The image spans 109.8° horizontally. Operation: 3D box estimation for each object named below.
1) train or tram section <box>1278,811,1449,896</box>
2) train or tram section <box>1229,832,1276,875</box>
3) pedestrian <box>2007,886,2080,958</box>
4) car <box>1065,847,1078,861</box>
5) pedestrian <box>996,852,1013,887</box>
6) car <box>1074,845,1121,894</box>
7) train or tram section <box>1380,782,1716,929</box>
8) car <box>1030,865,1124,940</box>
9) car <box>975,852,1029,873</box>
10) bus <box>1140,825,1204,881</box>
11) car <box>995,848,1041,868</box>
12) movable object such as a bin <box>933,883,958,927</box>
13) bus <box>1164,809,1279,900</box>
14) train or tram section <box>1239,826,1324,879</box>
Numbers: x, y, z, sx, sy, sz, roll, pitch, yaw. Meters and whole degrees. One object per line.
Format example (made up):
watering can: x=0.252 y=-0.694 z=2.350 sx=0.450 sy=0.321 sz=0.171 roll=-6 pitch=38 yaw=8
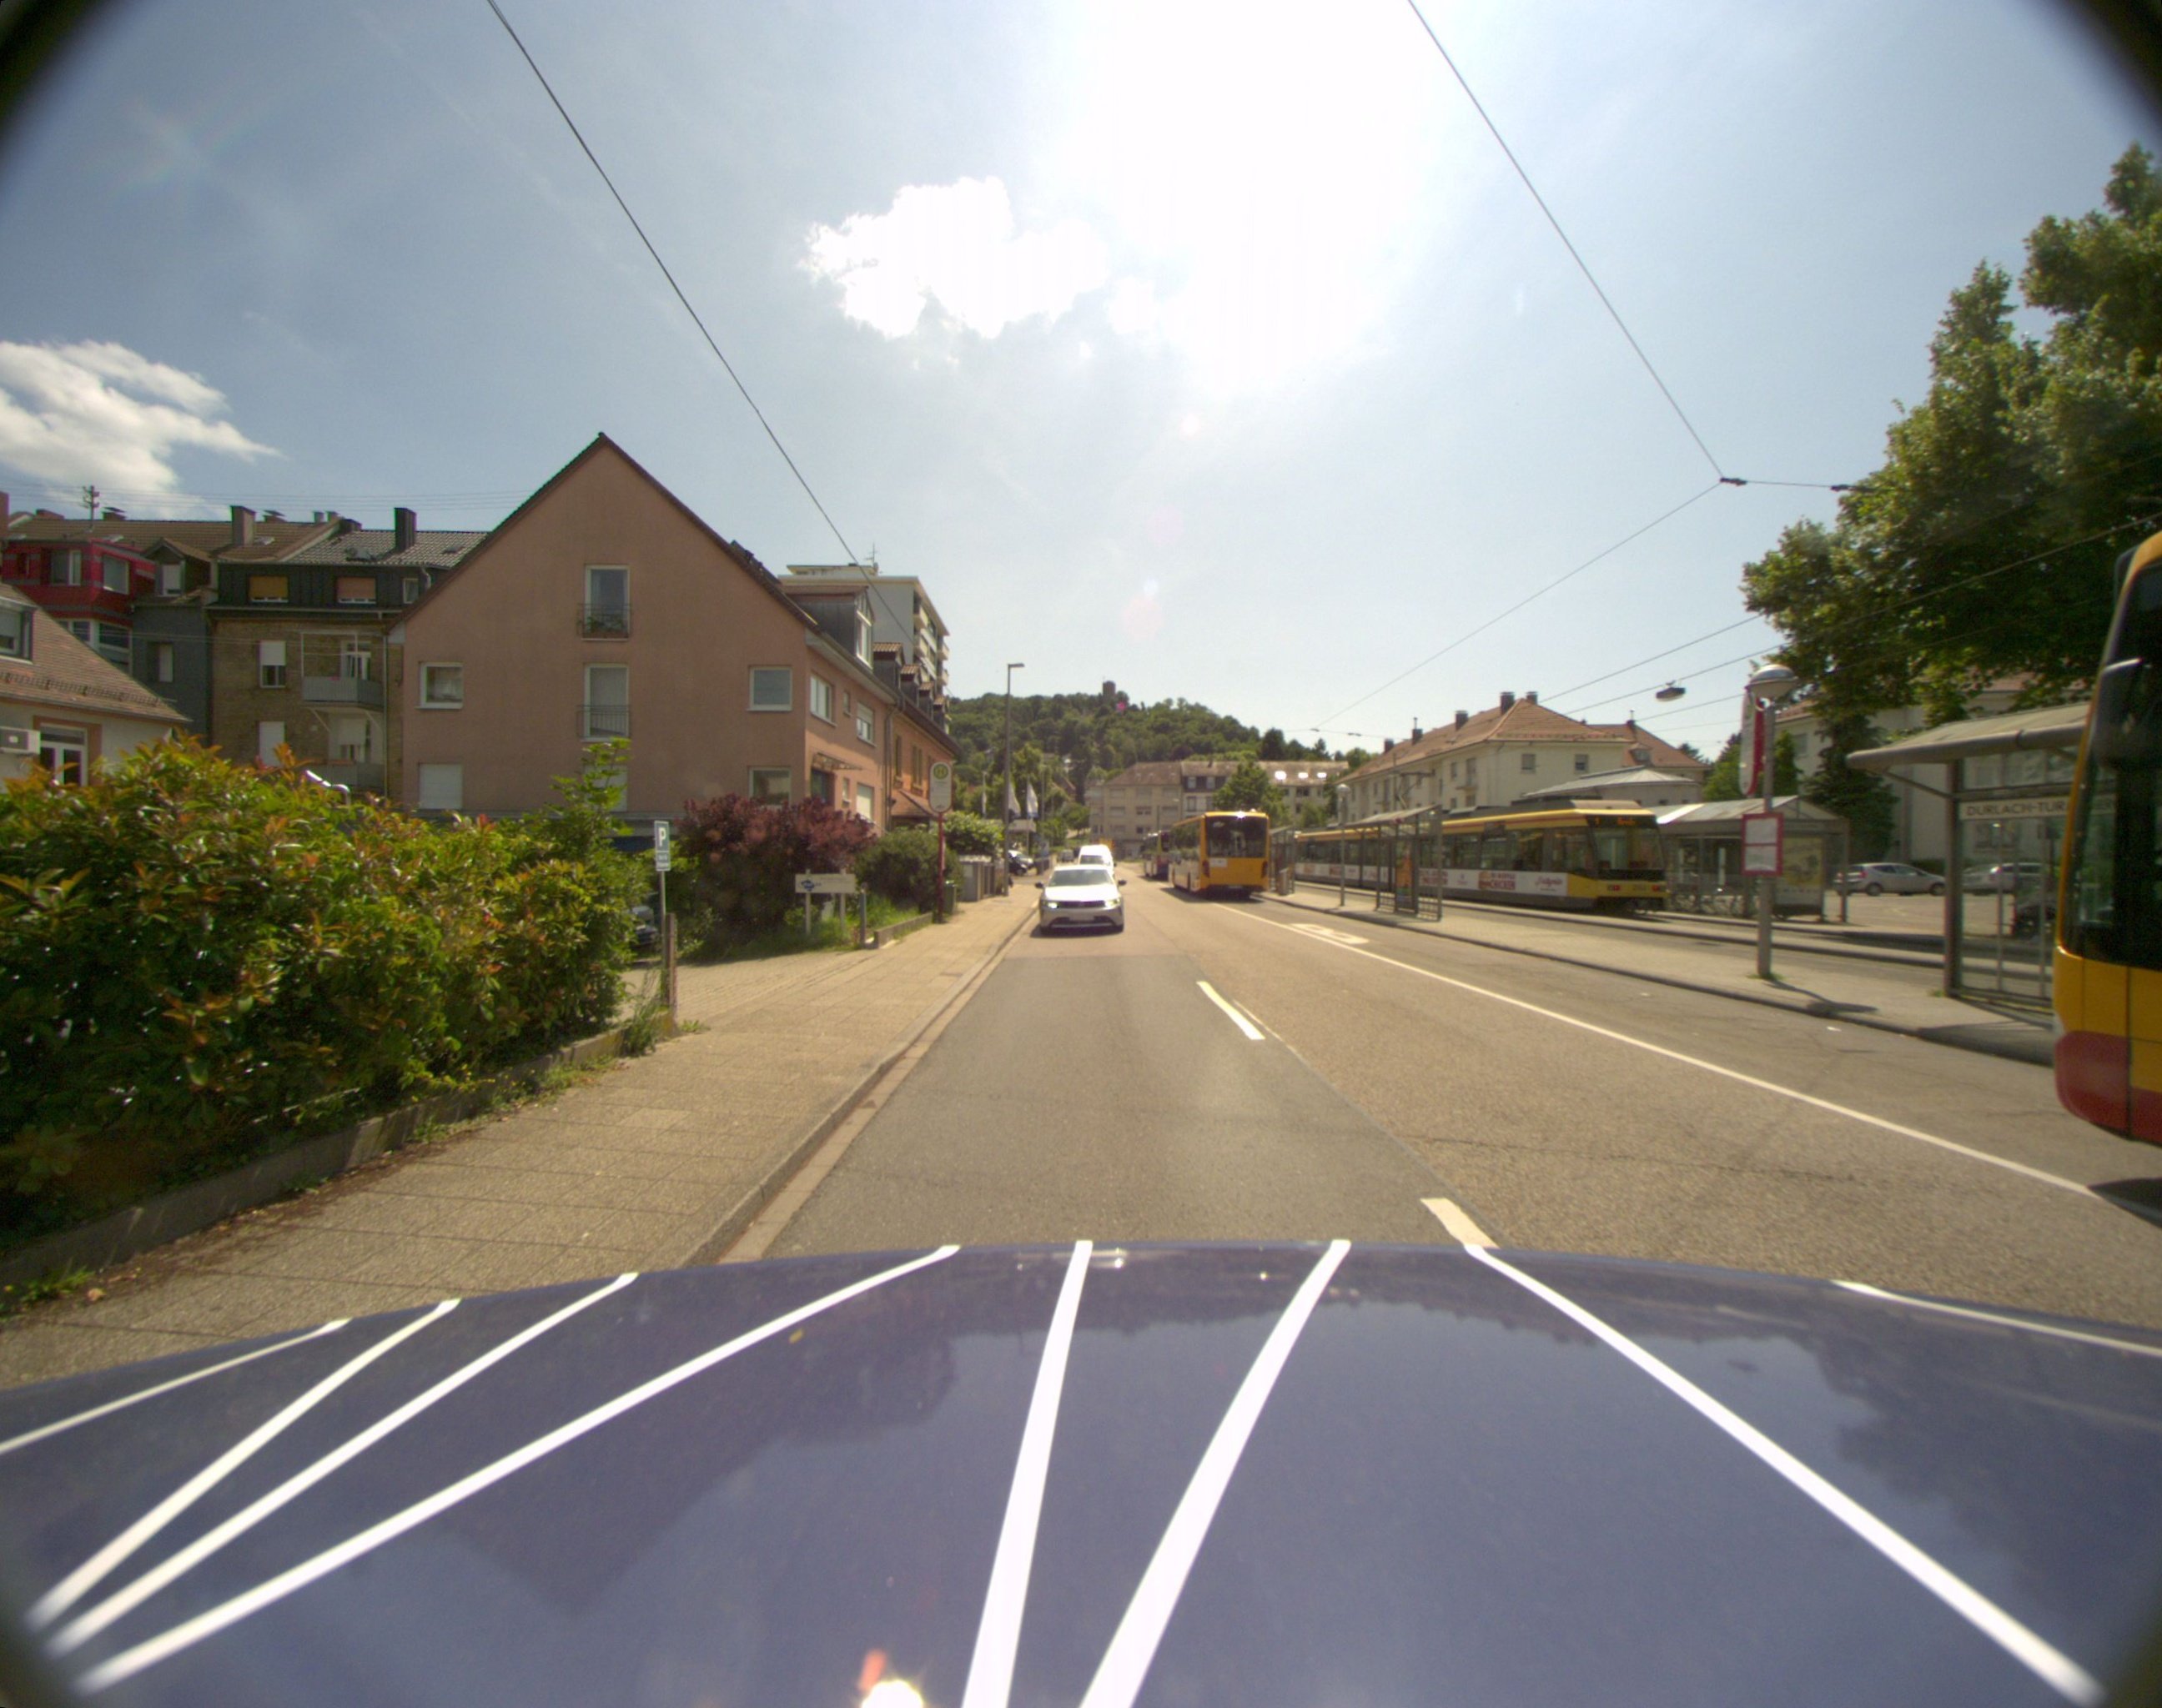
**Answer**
train or tram section: x=14.583 y=-0.083 z=41.820 sx=2.971 sy=3.621 sz=17.349 roll=-1 pitch=1 yaw=0
train or tram section: x=14.645 y=-0.050 z=65.116 sx=2.971 sy=3.475 sz=4.417 roll=1 pitch=1 yaw=0
pedestrian: x=17.660 y=1.240 z=13.949 sx=0.616 sy=1.244 sz=0.540 roll=-1 pitch=2 yaw=3
car: x=-1.384 y=-0.066 z=109.579 sx=1.708 sy=1.840 sz=4.710 roll=-2 pitch=2 yaw=-3
pedestrian: x=-3.670 y=0.751 z=36.361 sx=0.707 sy=1.631 sz=0.659 roll=2 pitch=-1 yaw=-9
car: x=0.774 y=0.713 z=39.518 sx=1.999 sy=2.258 sz=5.442 roll=-2 pitch=2 yaw=-3
train or tram section: x=14.536 y=-0.022 z=26.157 sx=2.971 sy=3.621 sz=13.992 roll=-1 pitch=1 yaw=0
car: x=0.033 y=1.005 z=17.466 sx=1.818 sy=1.371 sz=4.392 roll=0 pitch=1 yaw=4
car: x=-5.972 y=0.668 z=57.596 sx=3.890 sy=1.534 sz=1.840 roll=0 pitch=1 yaw=-12
bus: x=6.134 y=-0.021 z=53.253 sx=2.915 sy=3.406 sz=12.040 roll=-2 pitch=0 yaw=0
car: x=-6.064 y=0.384 z=72.447 sx=4.277 sy=1.779 sz=1.827 roll=0 pitch=2 yaw=40
movable object such as a bin: x=-3.033 y=1.127 z=16.984 sx=0.407 sy=0.902 sz=0.729 roll=4 pitch=2 yaw=-3
bus: x=5.766 y=-0.136 z=33.601 sx=2.905 sy=3.229 sz=12.193 roll=-1 pitch=1 yaw=1
train or tram section: x=14.598 y=-0.158 z=56.645 sx=2.971 sy=3.475 sz=12.655 roll=-1 pitch=1 yaw=0
